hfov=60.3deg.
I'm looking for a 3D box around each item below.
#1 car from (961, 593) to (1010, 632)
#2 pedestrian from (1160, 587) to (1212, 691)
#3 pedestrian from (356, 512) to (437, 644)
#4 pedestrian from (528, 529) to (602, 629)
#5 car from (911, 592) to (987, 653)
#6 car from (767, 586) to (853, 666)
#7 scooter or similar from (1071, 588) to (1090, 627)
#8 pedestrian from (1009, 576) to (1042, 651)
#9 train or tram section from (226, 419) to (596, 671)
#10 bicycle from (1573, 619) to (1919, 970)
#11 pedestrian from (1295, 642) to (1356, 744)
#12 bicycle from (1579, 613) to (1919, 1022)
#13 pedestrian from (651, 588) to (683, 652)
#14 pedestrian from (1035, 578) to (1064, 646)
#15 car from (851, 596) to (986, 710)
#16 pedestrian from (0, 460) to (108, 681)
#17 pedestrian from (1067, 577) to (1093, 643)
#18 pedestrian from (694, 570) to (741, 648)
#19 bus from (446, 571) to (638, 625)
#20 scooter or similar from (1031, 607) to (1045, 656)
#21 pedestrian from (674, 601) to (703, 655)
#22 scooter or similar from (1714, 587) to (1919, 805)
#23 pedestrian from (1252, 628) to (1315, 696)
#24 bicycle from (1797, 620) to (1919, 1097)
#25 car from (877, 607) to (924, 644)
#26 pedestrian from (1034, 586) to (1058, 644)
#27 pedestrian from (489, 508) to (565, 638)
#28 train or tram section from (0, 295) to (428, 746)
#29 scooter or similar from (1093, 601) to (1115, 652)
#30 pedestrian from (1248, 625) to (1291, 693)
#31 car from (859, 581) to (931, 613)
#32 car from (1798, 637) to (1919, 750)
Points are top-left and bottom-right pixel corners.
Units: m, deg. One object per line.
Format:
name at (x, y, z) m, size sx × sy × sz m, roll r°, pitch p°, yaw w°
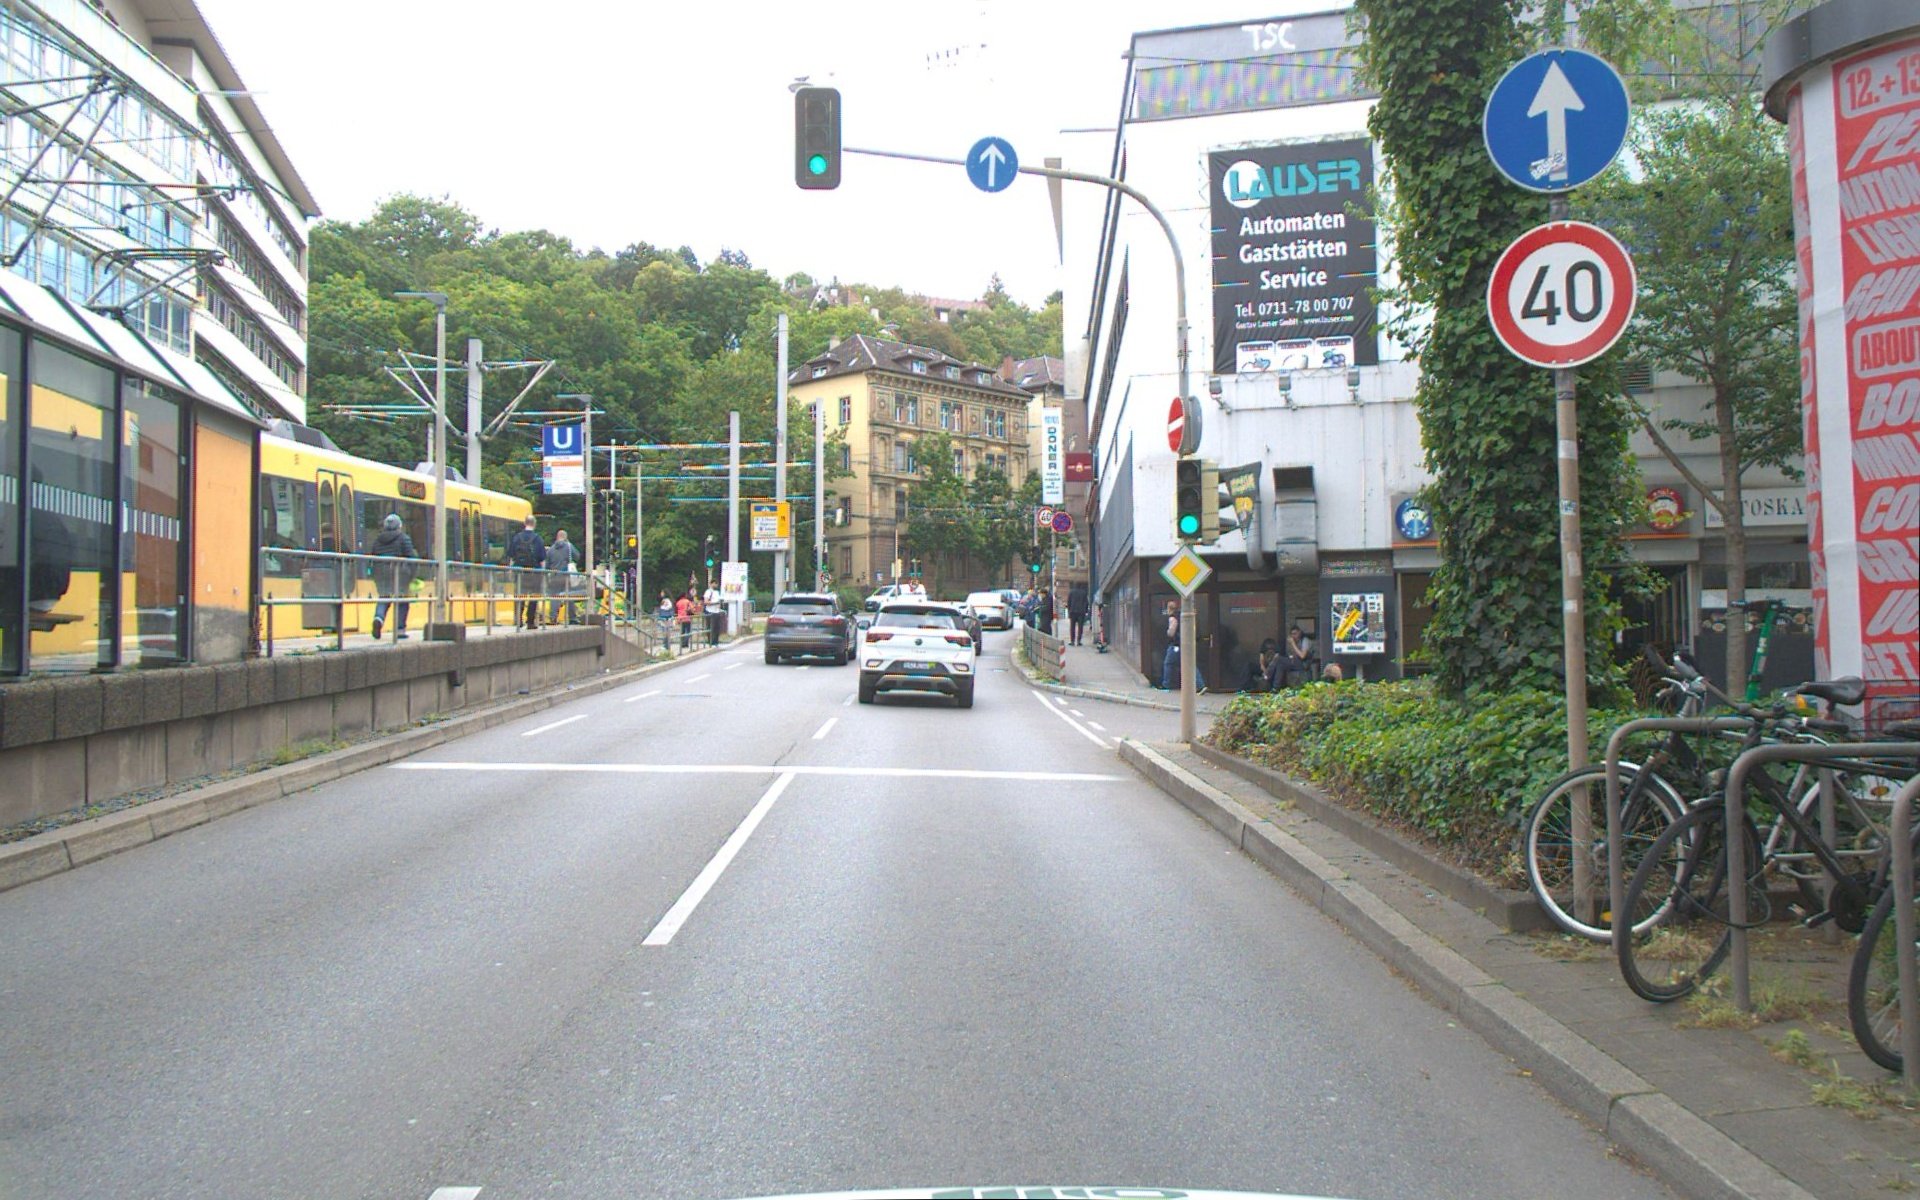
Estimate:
car at (1.049, 0.495, 67.122) m, size 1.898 × 1.532 × 3.806 m, roll 0°, pitch 0°, yaw 1°
pedestrian at (4.034, 0.692, 29.579) m, size 0.706 × 1.817 × 0.882 m, roll 1°, pitch 0°, yaw -6°
pedestrian at (-7.002, -0.269, 20.579) m, size 0.762 × 1.612 × 0.665 m, roll -1°, pitch 0°, yaw -1°
pedestrian at (-7.168, -0.366, 30.070) m, size 1.094 × 1.710 × 1.041 m, roll -1°, pitch -5°, yaw -1°
car at (-0.272, 0.613, 46.453) m, size 1.863 × 1.601 × 3.836 m, roll 1°, pitch 0°, yaw 3°
car at (-3.552, 0.573, 39.723) m, size 1.802 × 1.770 × 3.999 m, roll 1°, pitch 1°, yaw -2°
scooter or similar at (4.717, 0.290, 64.722) m, size 0.654 × 1.501 × 1.179 m, roll -1°, pitch 0°, yaw 6°
pedestrian at (1.866, 0.382, 47.265) m, size 0.927 × 2.099 × 0.779 m, roll 0°, pitch 0°, yaw 3°
train or tram section at (-10.058, -1.017, 32.778) m, size 2.824 × 3.727 × 14.471 m, roll -3°, pitch 1°, yaw -2°
bicycle at (3.210, 0.726, 6.478) m, size 1.393 × 1.243 × 0.541 m, roll -2°, pitch 0°, yaw -6°
pedestrian at (3.481, 0.898, 15.782) m, size 0.474 × 0.926 × 0.583 m, roll 1°, pitch -7°, yaw 2°
bicycle at (3.016, 0.675, 5.515) m, size 1.706 × 1.243 × 0.541 m, roll -1°, pitch 0°, yaw -6°
pedestrian at (-7.756, 0.521, 43.779) m, size 0.662 × 1.653 × 1.000 m, roll -1°, pitch 0°, yaw -2°
pedestrian at (2.492, 0.331, 45.922) m, size 0.722 × 1.825 × 0.655 m, roll -3°, pitch 0°, yaw 3°
car at (-0.628, 0.772, 26.091) m, size 1.899 × 1.594 × 4.045 m, roll 2°, pitch 0°, yaw -1°
pedestrian at (-5.991, -0.168, 10.397) m, size 0.833 × 1.329 × 0.778 m, roll -2°, pitch 0°, yaw -1°
pedestrian at (3.379, 0.268, 46.645) m, size 0.711 × 1.840 × 0.654 m, roll 1°, pitch 0°, yaw 3°
pedestrian at (-6.824, 0.275, 46.559) m, size 0.945 × 2.103 × 1.032 m, roll -3°, pitch -4°, yaw 18°
bus at (-26.101, -0.111, 103.407) m, size 11.265 × 3.082 × 3.393 m, roll -1°, pitch 0°, yaw 13°
scooter or similar at (2.039, 0.823, 43.526) m, size 0.346 × 1.298 × 0.814 m, roll 0°, pitch 0°, yaw 2°
pedestrian at (-7.683, 0.808, 46.800) m, size 0.564 × 1.490 × 0.676 m, roll -3°, pitch -4°, yaw 18°
scooter or similar at (5.458, 0.581, 10.181) m, size 1.362 × 1.276 × 0.629 m, roll -2°, pitch -2°, yaw 35°
pedestrian at (6.047, 1.152, 30.887) m, size 1.082 × 1.209 × 0.743 m, roll 1°, pitch 0°, yaw 17°
bicycle at (3.322, 0.680, 4.696) m, size 1.654 × 1.243 × 0.541 m, roll 0°, pitch 0°, yaw -6°
car at (-2.502, 1.053, 69.927) m, size 1.898 × 1.532 × 3.805 m, roll 0°, pitch 0°, yaw -1°
pedestrian at (2.584, 0.446, 49.884) m, size 0.550 × 1.680 × 0.591 m, roll -6°, pitch 0°, yaw 2°
pedestrian at (-6.958, -0.415, 26.631) m, size 0.910 × 2.004 × 1.233 m, roll -1°, pitch -3°, yaw -1°
train or tram section at (-9.510, -0.709, 18.535) m, size 2.824 × 3.727 × 14.225 m, roll -3°, pitch 1°, yaw -2°
scooter or similar at (3.747, 0.680, 42.909) m, size 0.418 × 1.298 × 0.981 m, roll 1°, pitch 1°, yaw 13°
pedestrian at (5.946, 1.127, 31.756) m, size 0.719 × 1.257 × 0.718 m, roll 1°, pitch 0°, yaw 15°
car at (-4.477, -0.164, 114.961) m, size 4.955 × 1.882 × 1.967 m, roll 5°, pitch -4°, yaw -45°
car at (13.390, 1.225, 21.144) m, size 4.481 × 1.381 × 1.762 m, roll 1°, pitch -2°, yaw 15°
